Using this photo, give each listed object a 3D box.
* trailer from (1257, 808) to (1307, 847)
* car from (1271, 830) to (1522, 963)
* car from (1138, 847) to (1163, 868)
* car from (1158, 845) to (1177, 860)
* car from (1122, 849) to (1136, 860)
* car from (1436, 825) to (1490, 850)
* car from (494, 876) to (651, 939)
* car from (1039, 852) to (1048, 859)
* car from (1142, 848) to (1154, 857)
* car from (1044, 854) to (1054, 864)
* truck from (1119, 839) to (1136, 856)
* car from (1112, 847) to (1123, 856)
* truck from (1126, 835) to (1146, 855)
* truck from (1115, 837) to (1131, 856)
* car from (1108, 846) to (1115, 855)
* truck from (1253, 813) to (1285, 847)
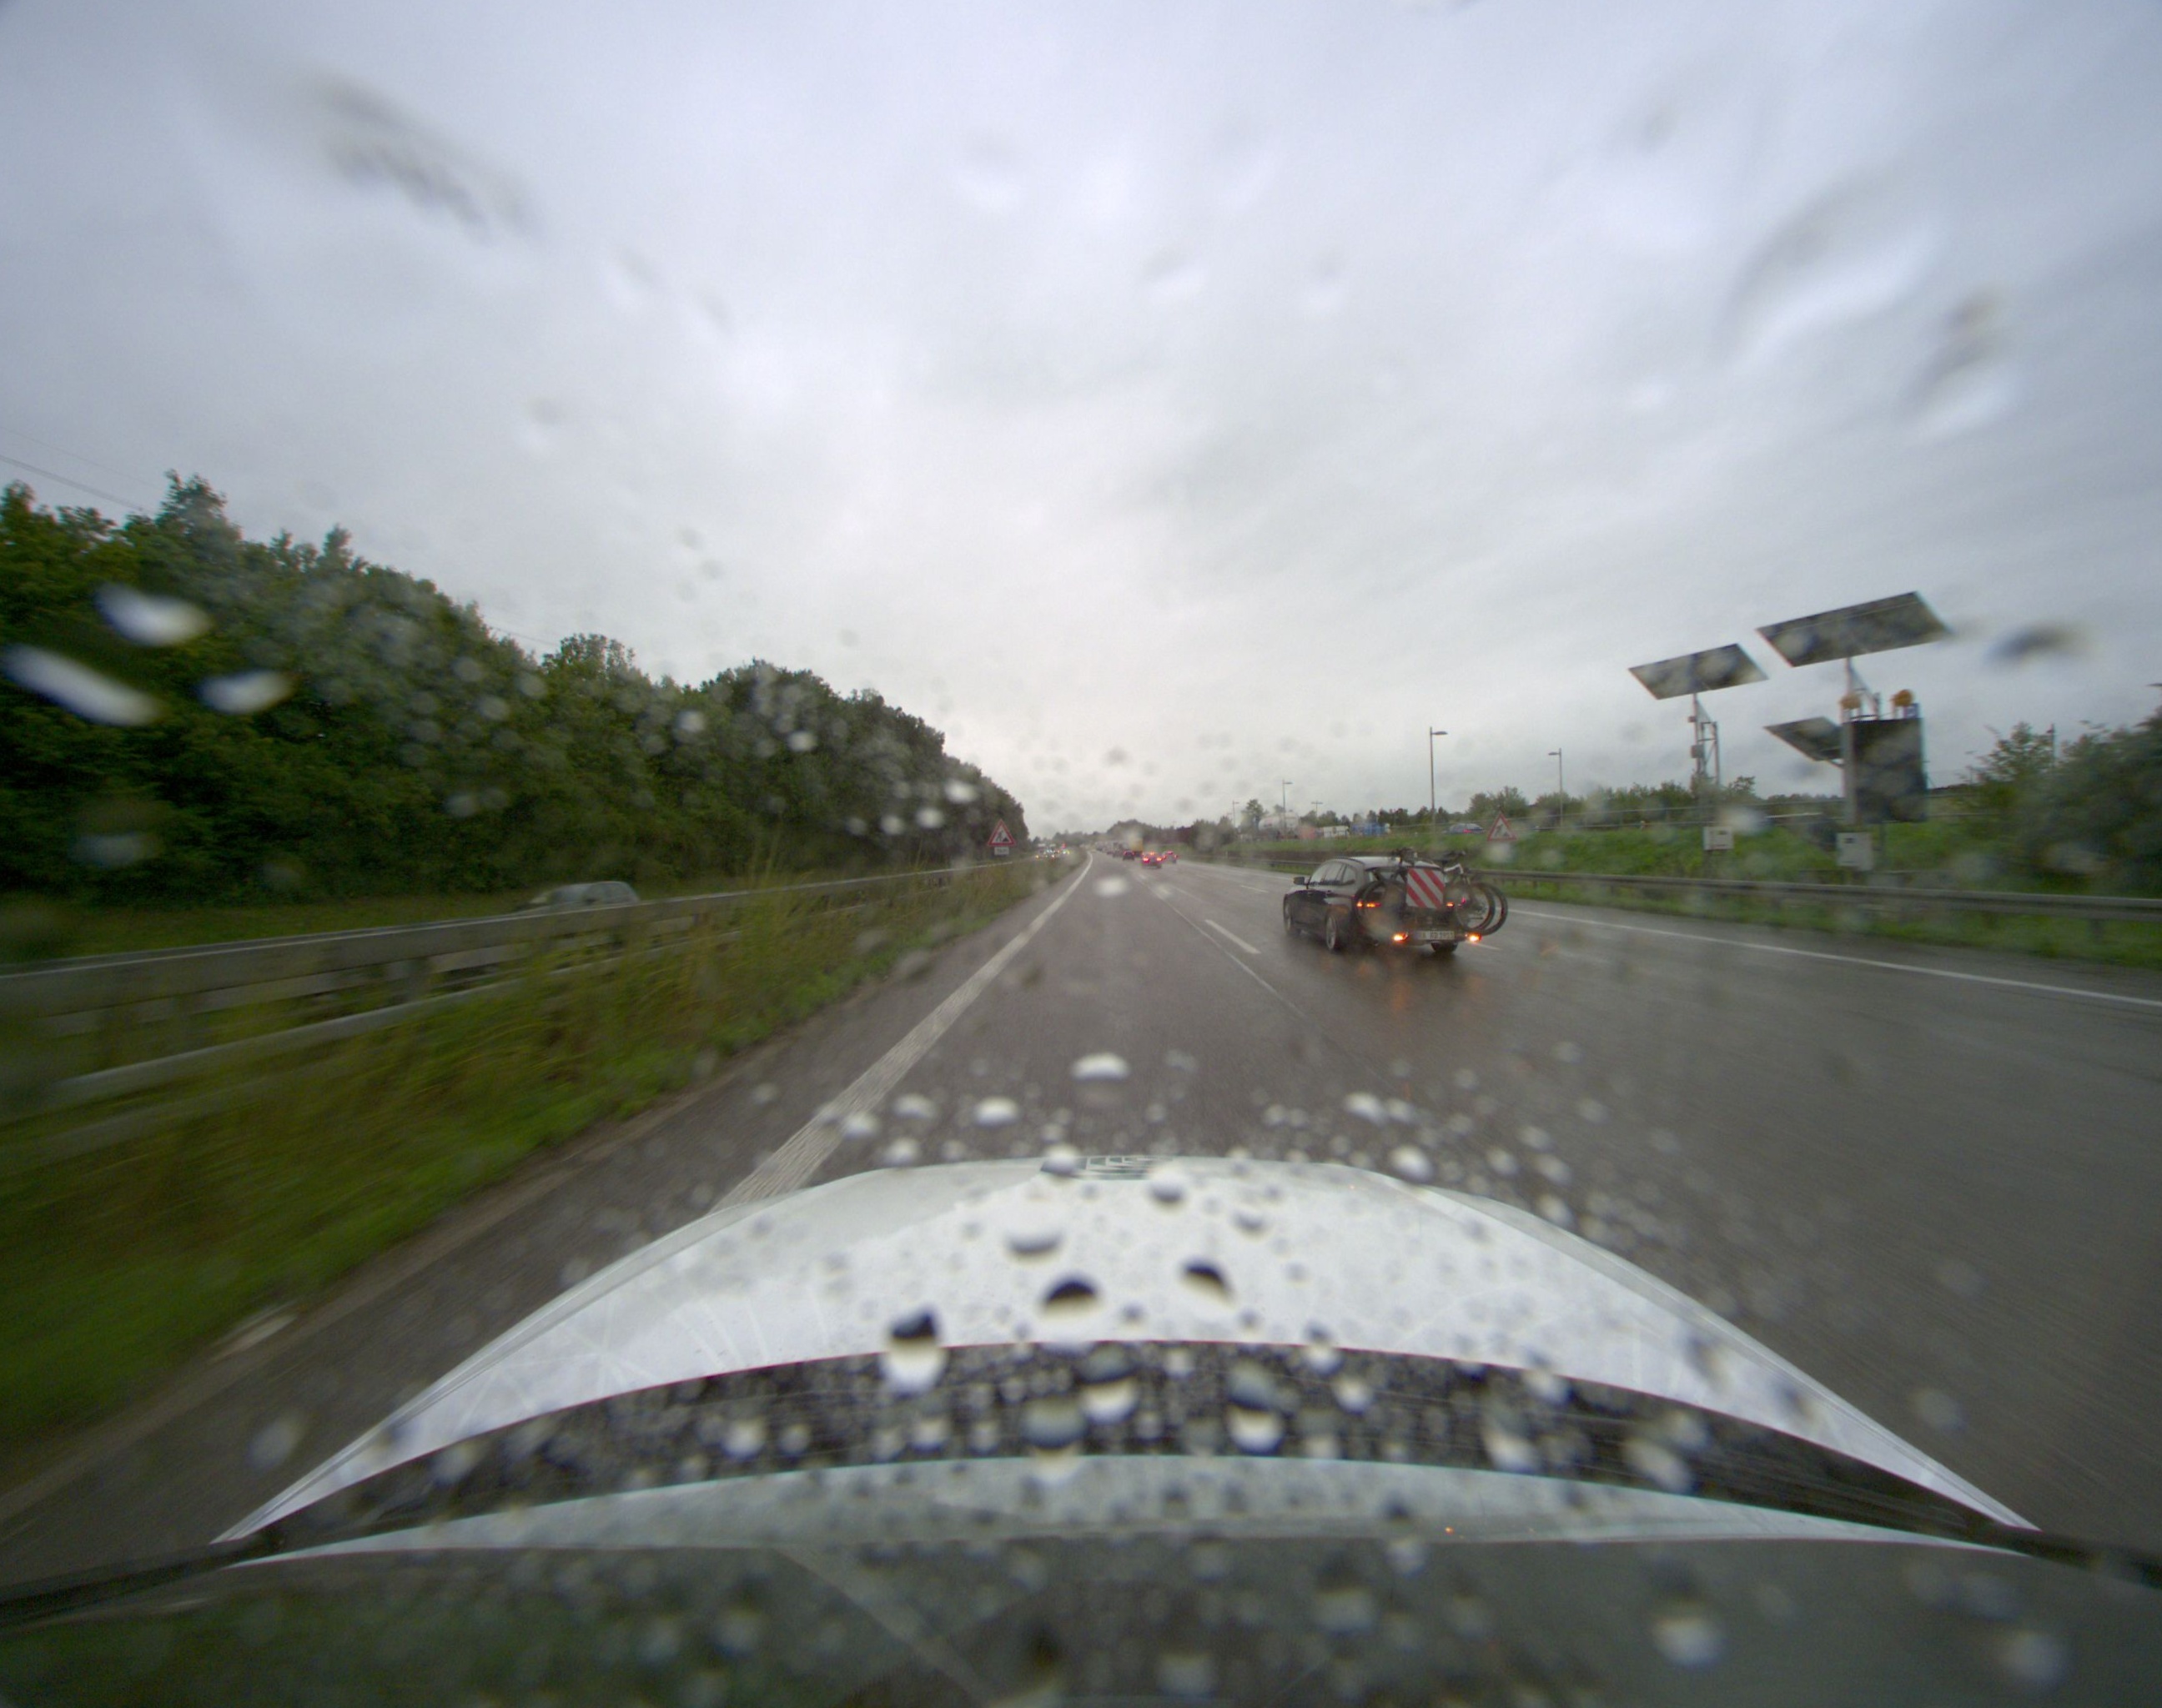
[{"bbox_3d":[24.044,-3.059,98.265,2.974,4.156,12.960,-2,0,2],"label":"trailer"},{"bbox_3d":[4.648,0.581,13.098,2.050,1.671,5.524,-1,-1,2],"label":"car"},{"bbox_3d":[6.338,0.294,74.551,1.986,1.761,4.001,-2,0,1],"label":"car"},{"bbox_3d":[10.582,-0.158,99.526,1.986,1.761,4.001,-2,0,1],"label":"car"},{"bbox_3d":[7.441,0.035,127.213,1.986,1.628,4.001,-2,0,1],"label":"car"},{"bbox_3d":[27.766,-1.173,59.313,1.785,1.624,3.994,-2,0,-4],"label":"car"},{"bbox_3d":[-13.744,1.389,22.324,1.672,1.397,4.001,-2,0,1],"label":"car"},{"bbox_3d":[-8.388,0.277,182.594,1.672,1.397,4.001,-2,0,1],"label":"car"},{"bbox_3d":[12.071,-0.257,146.724,1.986,1.628,4.001,-2,0,1],"label":"car"},{"bbox_3d":[-6.166,0.981,155.278,1.598,1.884,3.573,-2,0,2],"label":"car"},{"bbox_3d":[12.281,-1.694,216.312,3.910,3.981,12.244,-2,0,2],"label":"truck"},{"bbox_3d":[7.425,-0.530,166.160,1.986,1.628,4.001,-2,0,1],"label":"car"},{"bbox_3d":[12.032,-1.889,179.554,3.910,3.981,12.244,-2,0,2],"label":"truck"},{"bbox_3d":[12.640,-2.182,247.508,4.271,5.568,12.244,-2,0,2],"label":"truck"},{"bbox_3d":[8.388,-0.918,223.595,1.986,2.205,4.001,-2,0,1],"label":"car"},{"bbox_3d":[24.272,-3.061,105.442,2.938,4.145,4.924,-2,0,2],"label":"truck"}]
